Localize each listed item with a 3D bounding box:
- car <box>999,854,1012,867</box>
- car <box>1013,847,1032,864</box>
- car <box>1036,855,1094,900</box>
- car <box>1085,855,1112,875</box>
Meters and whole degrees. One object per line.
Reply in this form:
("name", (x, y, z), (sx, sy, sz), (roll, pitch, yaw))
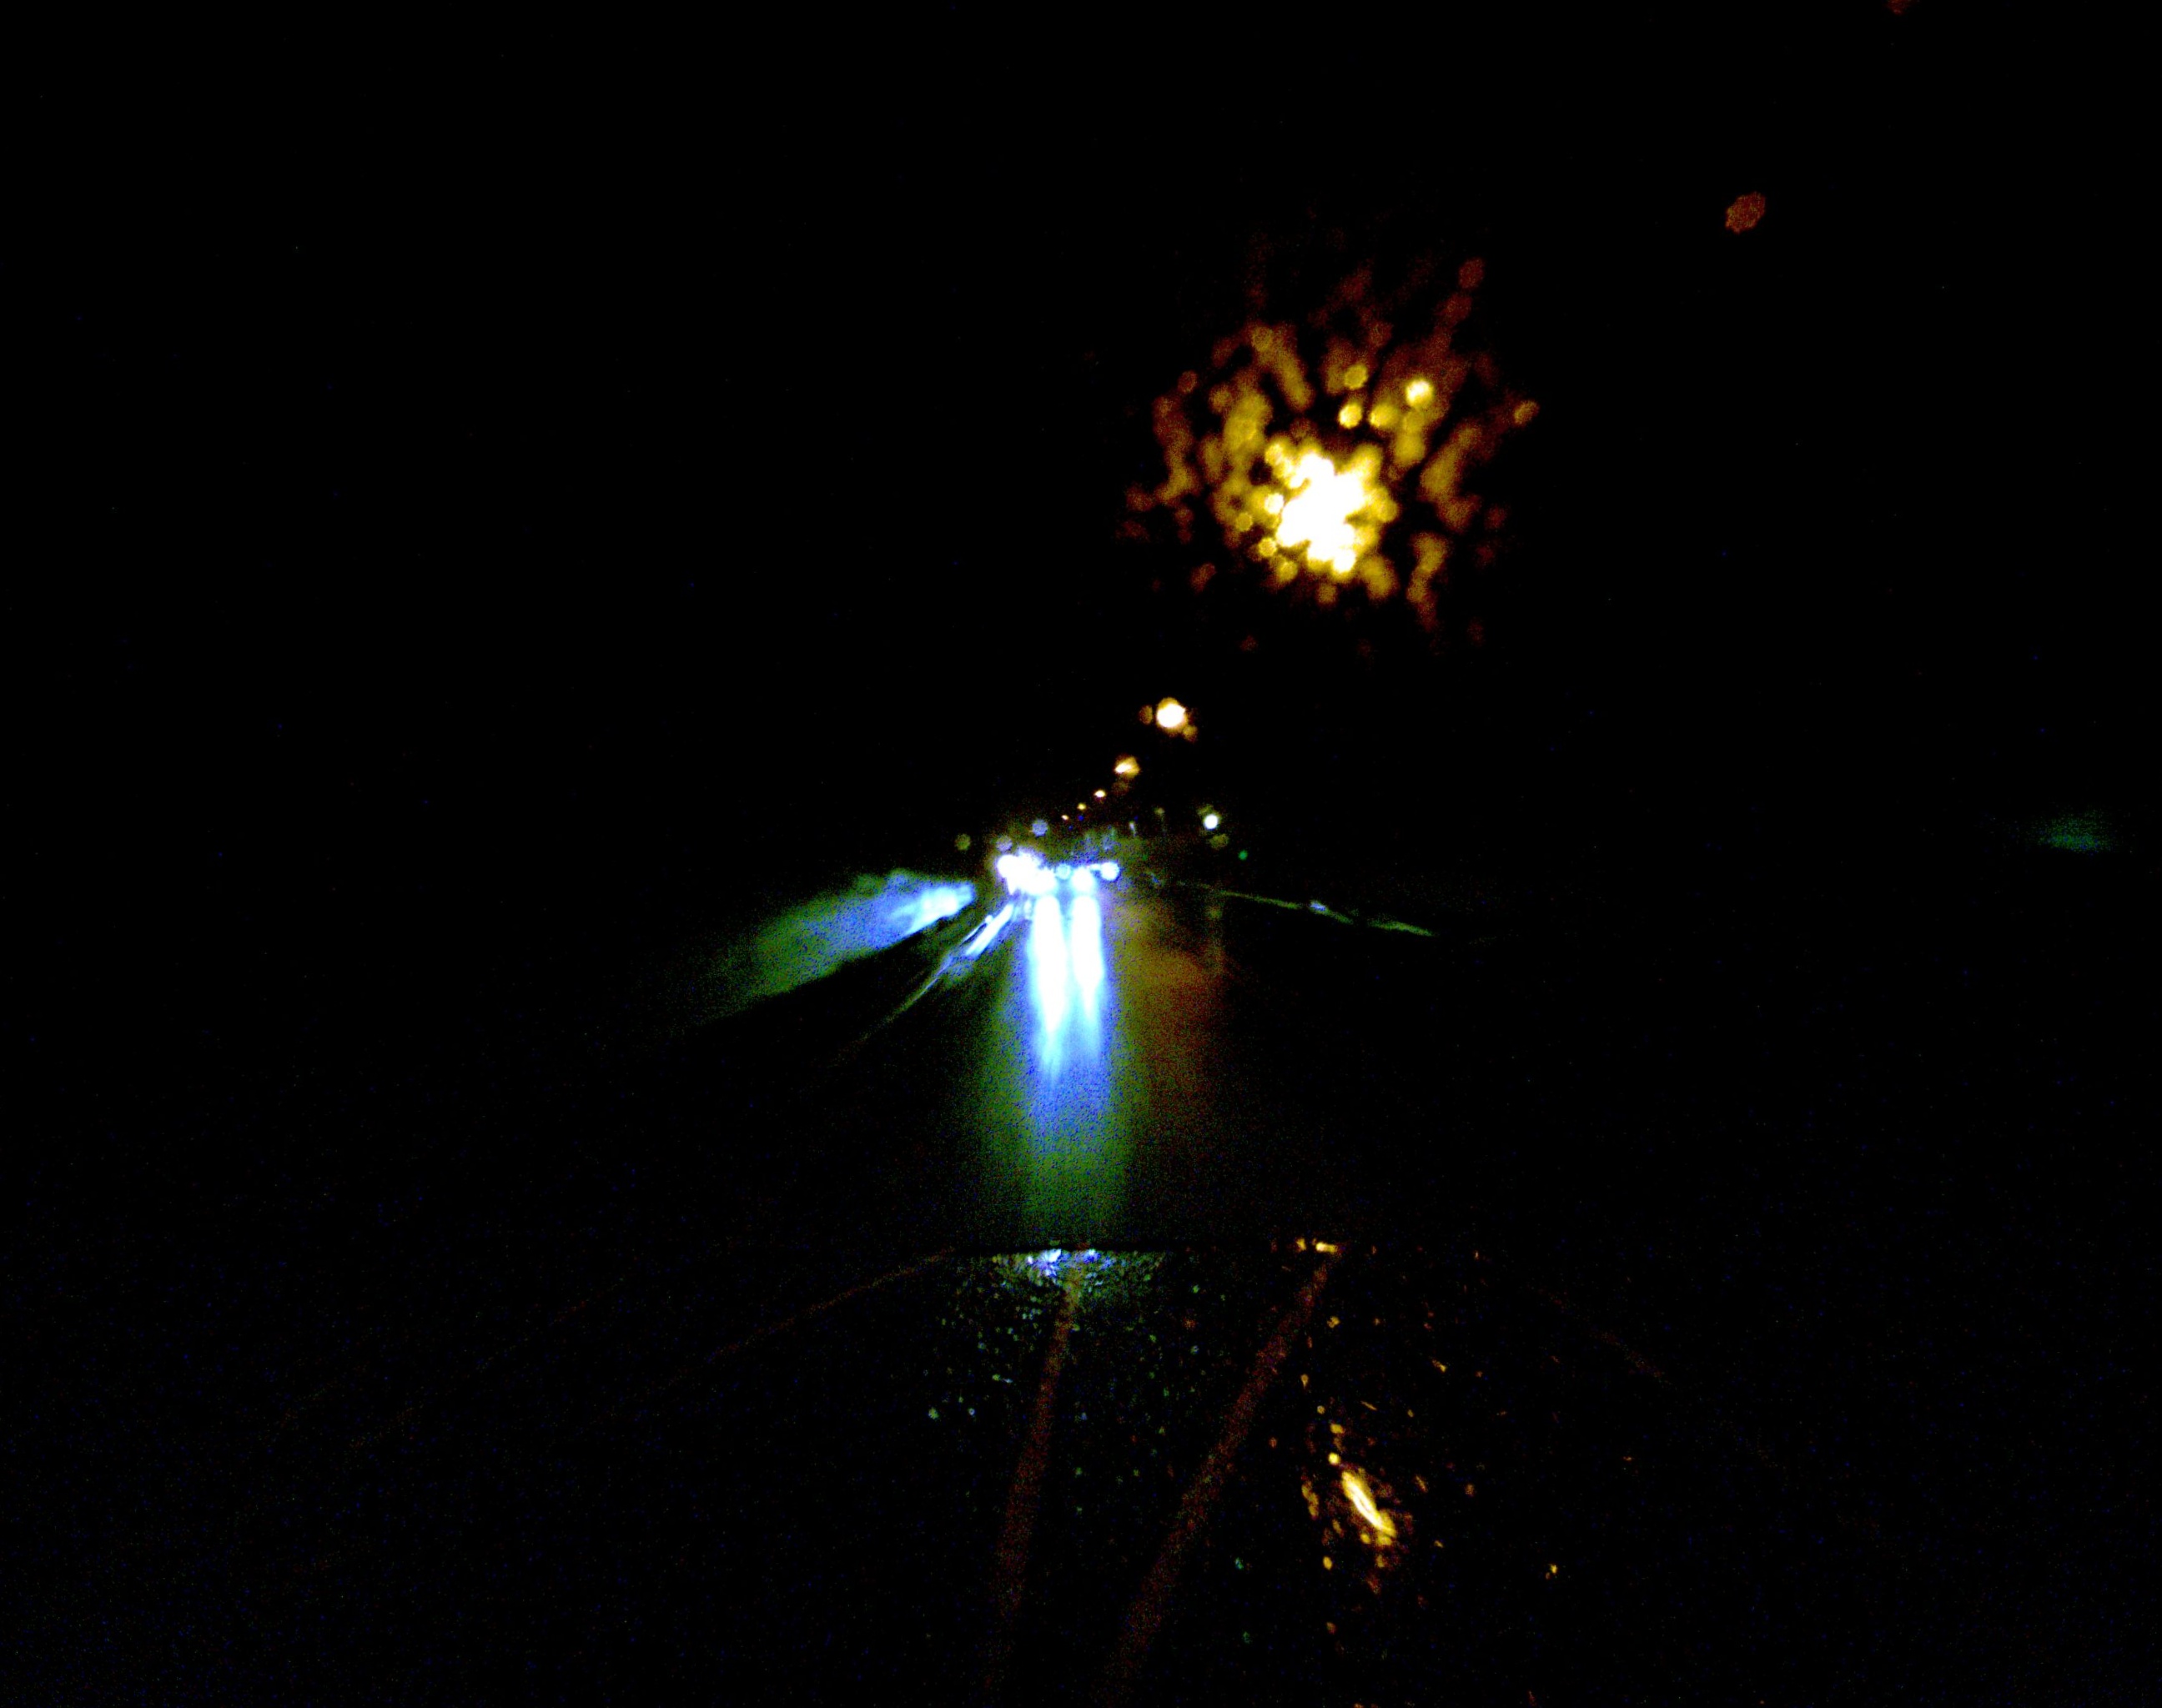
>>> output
("car", (-11.288, 0.939, 113.564), (1.709, 1.761, 3.997), (-1, 1, -7))
("car", (-7.042, 0.173, 91.619), (1.900, 2.002, 3.996), (-1, 1, -9))
("car", (-0.743, 0.908, 31.658), (1.999, 1.585, 4.606), (-3, 1, -6))
("car", (1.286, 0.811, 57.065), (1.717, 1.370, 4.584), (-3, 0, -2))
